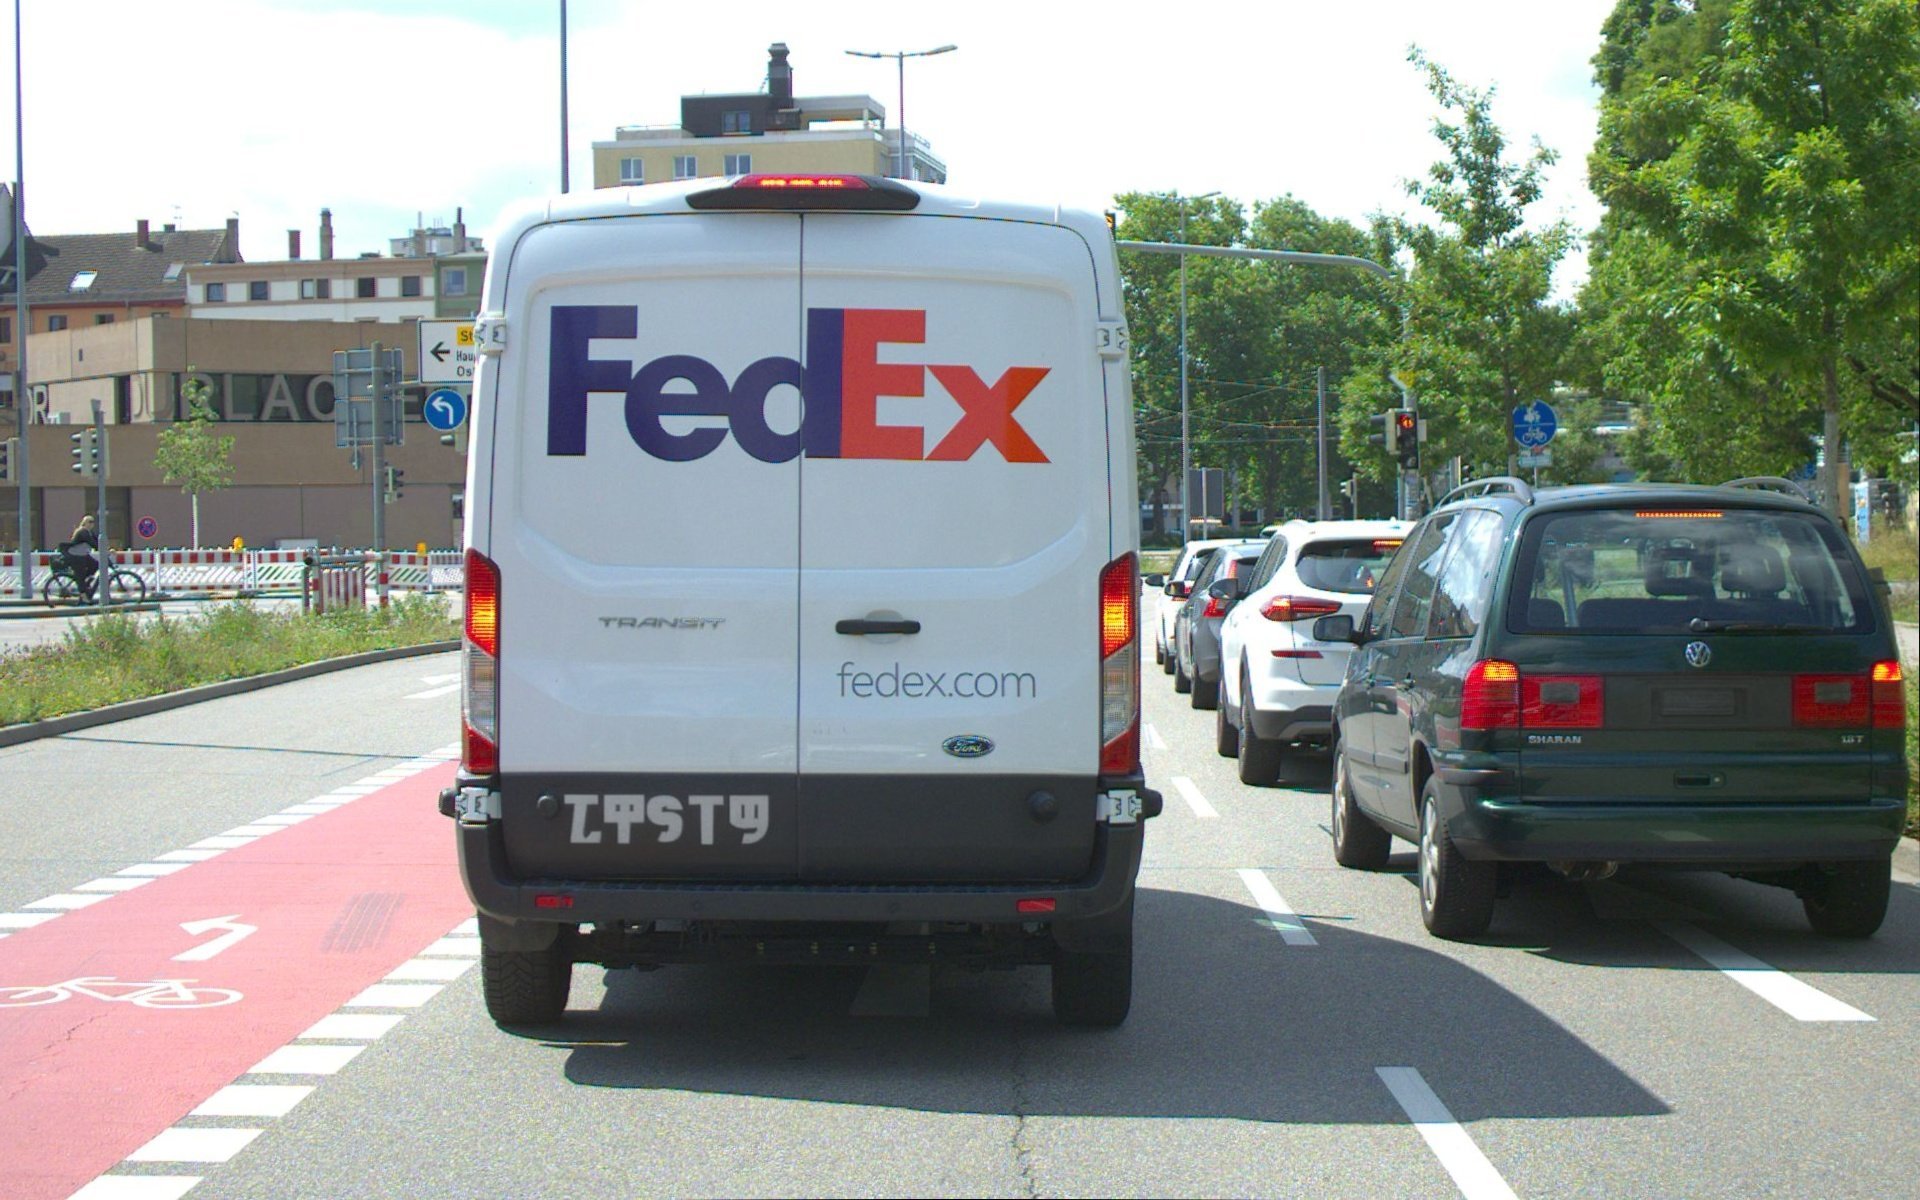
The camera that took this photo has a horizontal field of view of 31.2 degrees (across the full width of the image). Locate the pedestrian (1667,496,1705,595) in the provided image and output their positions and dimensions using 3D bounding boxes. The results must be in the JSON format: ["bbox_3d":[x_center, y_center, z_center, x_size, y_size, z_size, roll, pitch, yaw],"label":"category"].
[{"bbox_3d":[13.918,-1.042,65.908,0.574,1.886,0.679,-1,1,0],"label":"pedestrian"}]

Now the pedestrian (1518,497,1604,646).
[{"bbox_3d":[7.714,-0.372,44.158,0.950,1.886,0.774,-1,1,0],"label":"pedestrian"}]

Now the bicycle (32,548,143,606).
[{"bbox_3d":[-16.112,-0.431,63.482,1.920,1.027,0.548,-1,1,-7],"label":"bicycle"}]

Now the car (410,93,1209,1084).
[{"bbox_3d":[-0.595,-0.085,12.088,2.140,2.643,5.705,0,1,-4],"label":"car"}]

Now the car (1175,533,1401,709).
[{"bbox_3d":[2.913,0.141,31.199,1.798,1.456,3.838,-1,1,2],"label":"car"}]

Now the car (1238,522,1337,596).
[{"bbox_3d":[8.202,-1.032,85.855,1.994,1.787,4.369,-1,1,11],"label":"car"}]

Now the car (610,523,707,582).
[{"bbox_3d":[-8.562,-1.354,97.969,1.879,1.646,3.999,-1,1,8],"label":"car"}]

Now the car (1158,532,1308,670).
[{"bbox_3d":[2.983,-0.026,38.020,1.484,1.423,3.433,-1,1,2],"label":"car"}]

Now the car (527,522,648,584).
[{"bbox_3d":[-9.907,-1.252,91.794,1.902,1.579,3.997,-1,1,14],"label":"car"}]

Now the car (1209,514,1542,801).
[{"bbox_3d":[2.610,0.295,22.398,1.798,1.681,4.000,-1,1,2],"label":"car"}]

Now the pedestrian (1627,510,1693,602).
[{"bbox_3d":[10.703,-0.683,52.590,0.845,1.384,0.741,-1,1,0],"label":"pedestrian"}]

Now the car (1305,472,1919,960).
[{"bbox_3d":[2.581,0.355,14.398,1.812,1.728,4.389,0,1,0],"label":"car"}]

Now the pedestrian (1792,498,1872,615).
[{"bbox_3d":[11.566,-0.586,45.619,0.845,1.533,0.835,-1,1,0],"label":"pedestrian"}]

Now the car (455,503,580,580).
[{"bbox_3d":[-11.964,-1.585,93.220,1.995,2.007,3.997,-1,1,15],"label":"car"}]

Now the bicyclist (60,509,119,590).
[{"bbox_3d":[-16.068,-0.930,63.476,0.967,1.469,0.551,-1,1,-7],"label":"bicyclist"}]
